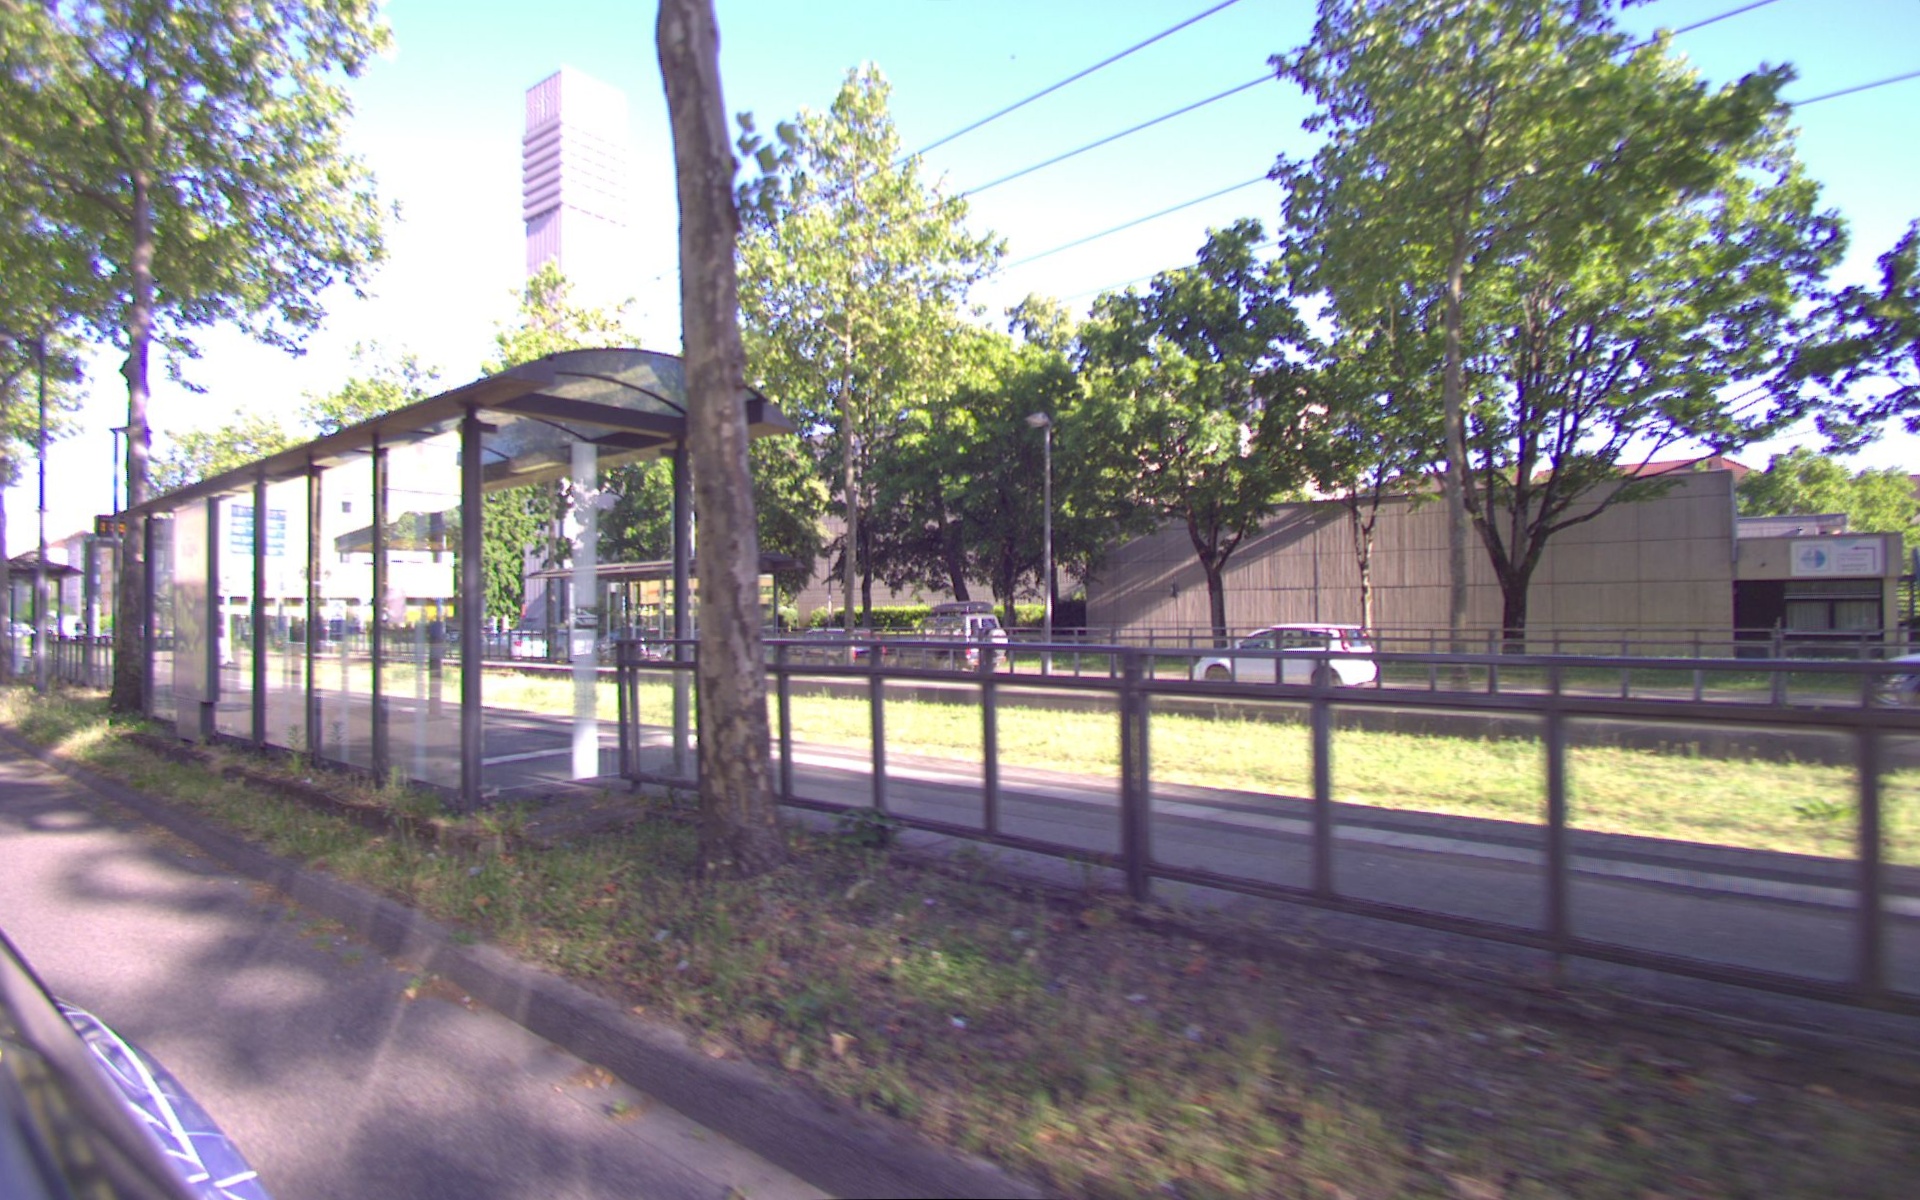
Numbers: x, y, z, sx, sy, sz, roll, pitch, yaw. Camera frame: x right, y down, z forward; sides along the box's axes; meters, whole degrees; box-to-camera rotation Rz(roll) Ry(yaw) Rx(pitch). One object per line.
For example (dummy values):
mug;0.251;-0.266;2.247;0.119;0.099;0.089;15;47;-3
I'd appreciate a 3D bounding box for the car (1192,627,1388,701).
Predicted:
car;7.508;1.421;23.245;3.934;1.557;1.695;-2;-3;44

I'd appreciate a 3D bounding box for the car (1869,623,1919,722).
car;16.765;1.107;15.474;4.199;1.557;1.695;-2;-3;42

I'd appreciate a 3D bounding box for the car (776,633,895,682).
car;-4.134;1.864;33.293;4.017;1.500;1.577;-2;-2;40

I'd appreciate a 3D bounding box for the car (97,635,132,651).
car;-69.828;3.531;83.570;3.409;1.335;1.313;-1;-2;35

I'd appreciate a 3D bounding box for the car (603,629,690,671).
car;-12.793;2.018;41.219;3.929;1.645;1.577;-2;-3;42

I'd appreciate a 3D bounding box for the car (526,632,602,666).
car;-17.689;2.168;45.162;3.929;1.455;1.577;-2;-3;42

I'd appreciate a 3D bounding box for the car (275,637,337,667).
car;-32.606;2.564;50.410;3.533;1.438;1.589;-2;-2;39

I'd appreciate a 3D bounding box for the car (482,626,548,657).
car;-19.034;1.772;43.235;3.373;1.251;1.250;-2;-2;40

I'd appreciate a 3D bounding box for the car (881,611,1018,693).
car;-0.362;1.528;30.160;3.930;2.279;1.696;-2;-2;40

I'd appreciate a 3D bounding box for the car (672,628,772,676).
car;-8.806;1.891;37.326;3.927;1.648;1.577;-2;-2;41

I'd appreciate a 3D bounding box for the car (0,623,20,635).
car;-143.816;4.361;152.915;5.399;1.720;2.117;-2;-2;41

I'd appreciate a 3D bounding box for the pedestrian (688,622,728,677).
pedestrian;-5.994;1.157;24.054;0.825;1.270;0.802;-1;-1;-21
